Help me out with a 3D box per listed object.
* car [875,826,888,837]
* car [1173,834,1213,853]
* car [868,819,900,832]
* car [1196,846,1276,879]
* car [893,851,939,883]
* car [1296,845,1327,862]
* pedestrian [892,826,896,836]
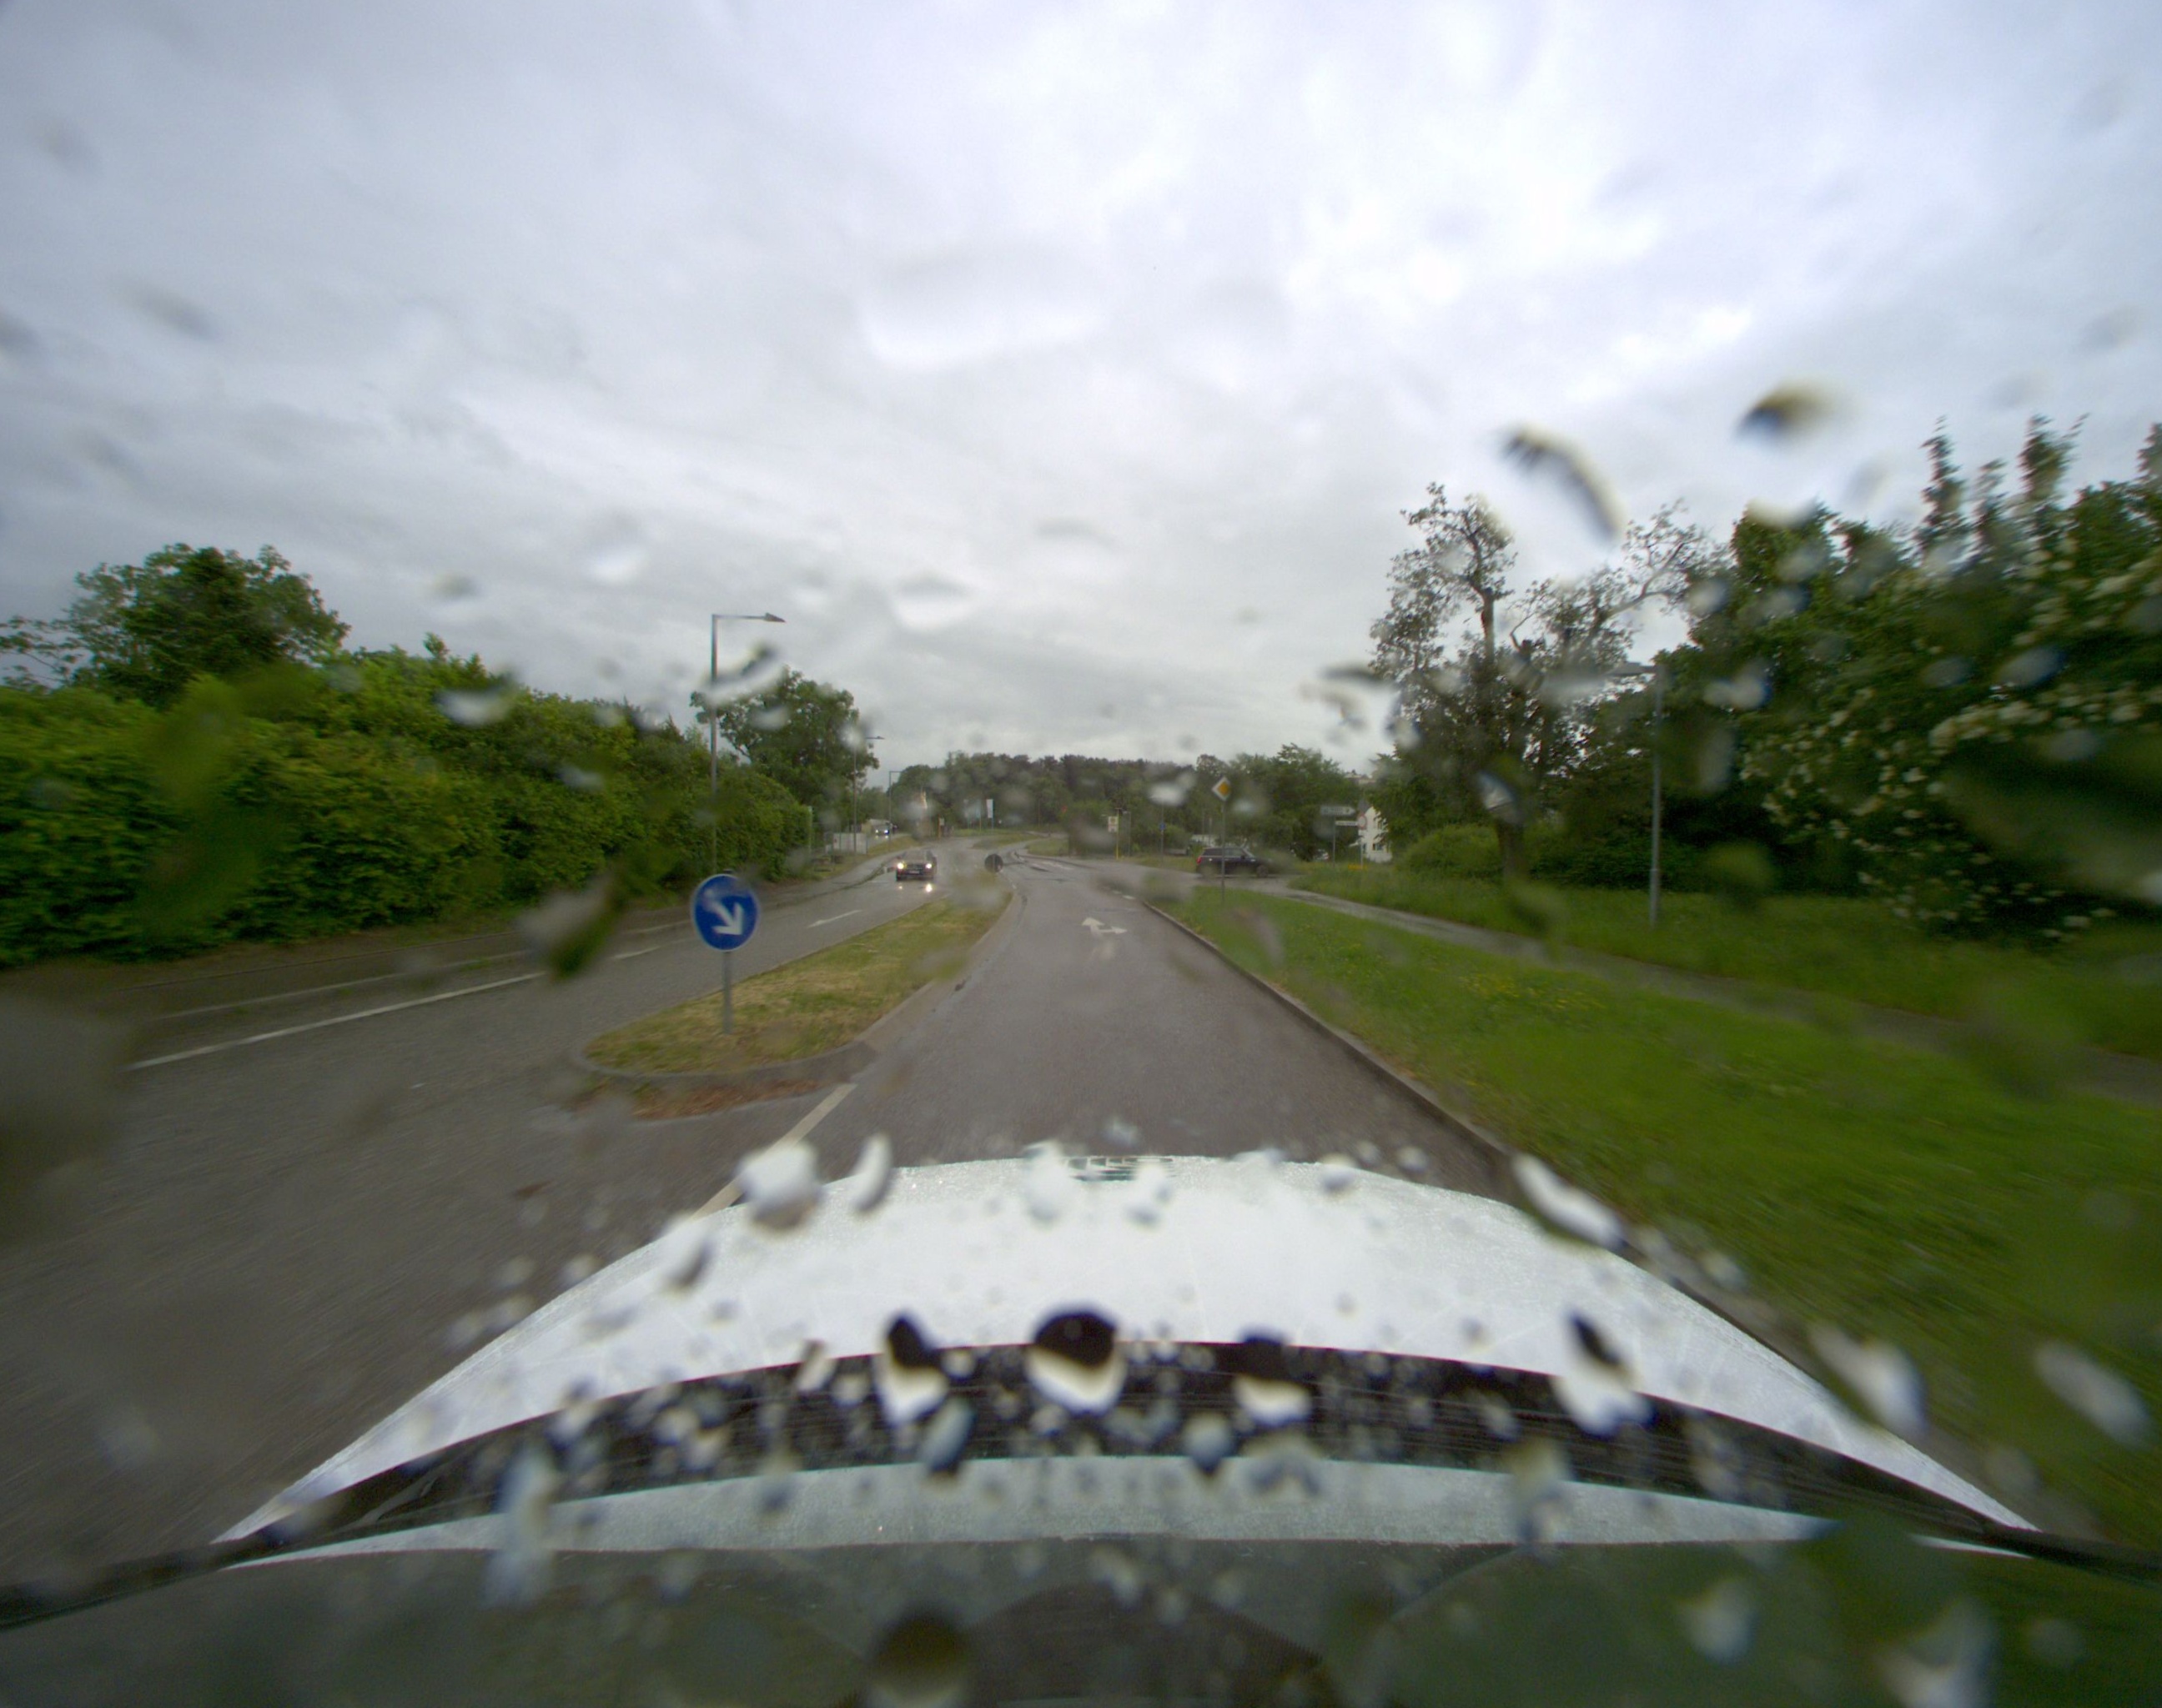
[{"bbox_3d":[-30.676,-3.456,125.145,1.694,1.620,3.869,0,0,-19],"label":"car"},{"bbox_3d":[11.146,-1.003,81.198,3.379,1.690,2.012,-2,-4,41],"label":"car"},{"bbox_3d":[-37.765,-5.424,156.321,5.673,2.404,1.994,0,0,-9],"label":"car"},{"bbox_3d":[7.159,0.362,37.548,3.498,1.355,1.465,2,1,12],"label":"car"},{"bbox_3d":[-8.266,0.601,41.071,1.967,1.414,4.403,-2,1,-8],"label":"car"},{"bbox_3d":[21.779,-0.079,77.102,1.923,1.507,4.003,-1,2,2],"label":"car"},{"bbox_3d":[-29.139,-3.544,126.731,0.568,1.620,0.633,0,0,-20],"label":"pedestrian"}]
